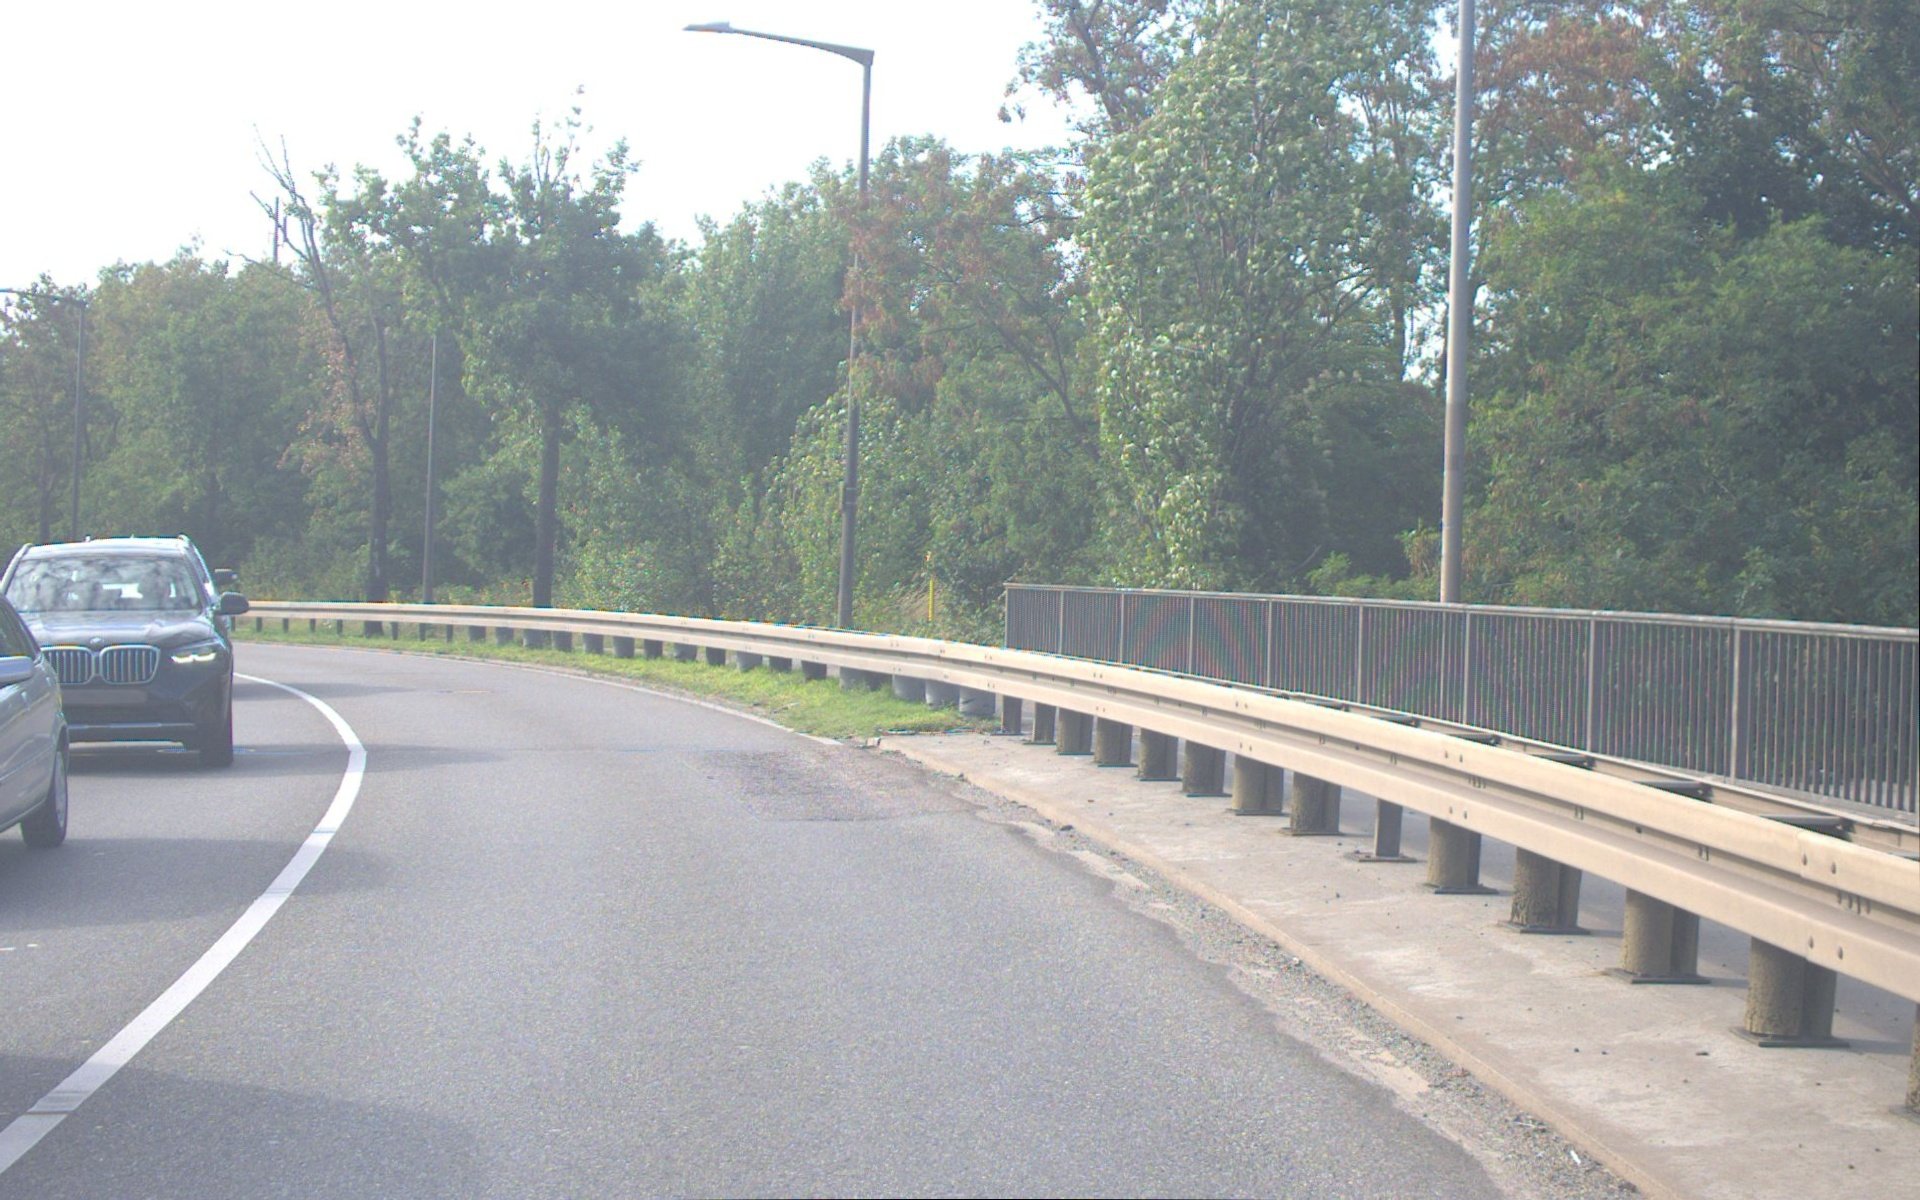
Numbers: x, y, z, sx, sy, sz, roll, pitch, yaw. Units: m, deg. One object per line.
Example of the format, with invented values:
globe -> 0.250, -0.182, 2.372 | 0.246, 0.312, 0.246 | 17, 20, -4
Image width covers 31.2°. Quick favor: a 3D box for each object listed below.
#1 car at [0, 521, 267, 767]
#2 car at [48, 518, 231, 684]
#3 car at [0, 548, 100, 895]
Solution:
car -> -6.271, 0.264, 25.798 | 1.889, 1.643, 4.643 | -1, 1, -9
car -> -9.714, -0.024, 40.436 | 1.900, 1.804, 5.406 | -1, 1, -15
car -> -5.164, 0.523, 16.009 | 1.731, 1.450, 4.266 | -1, 2, -7
